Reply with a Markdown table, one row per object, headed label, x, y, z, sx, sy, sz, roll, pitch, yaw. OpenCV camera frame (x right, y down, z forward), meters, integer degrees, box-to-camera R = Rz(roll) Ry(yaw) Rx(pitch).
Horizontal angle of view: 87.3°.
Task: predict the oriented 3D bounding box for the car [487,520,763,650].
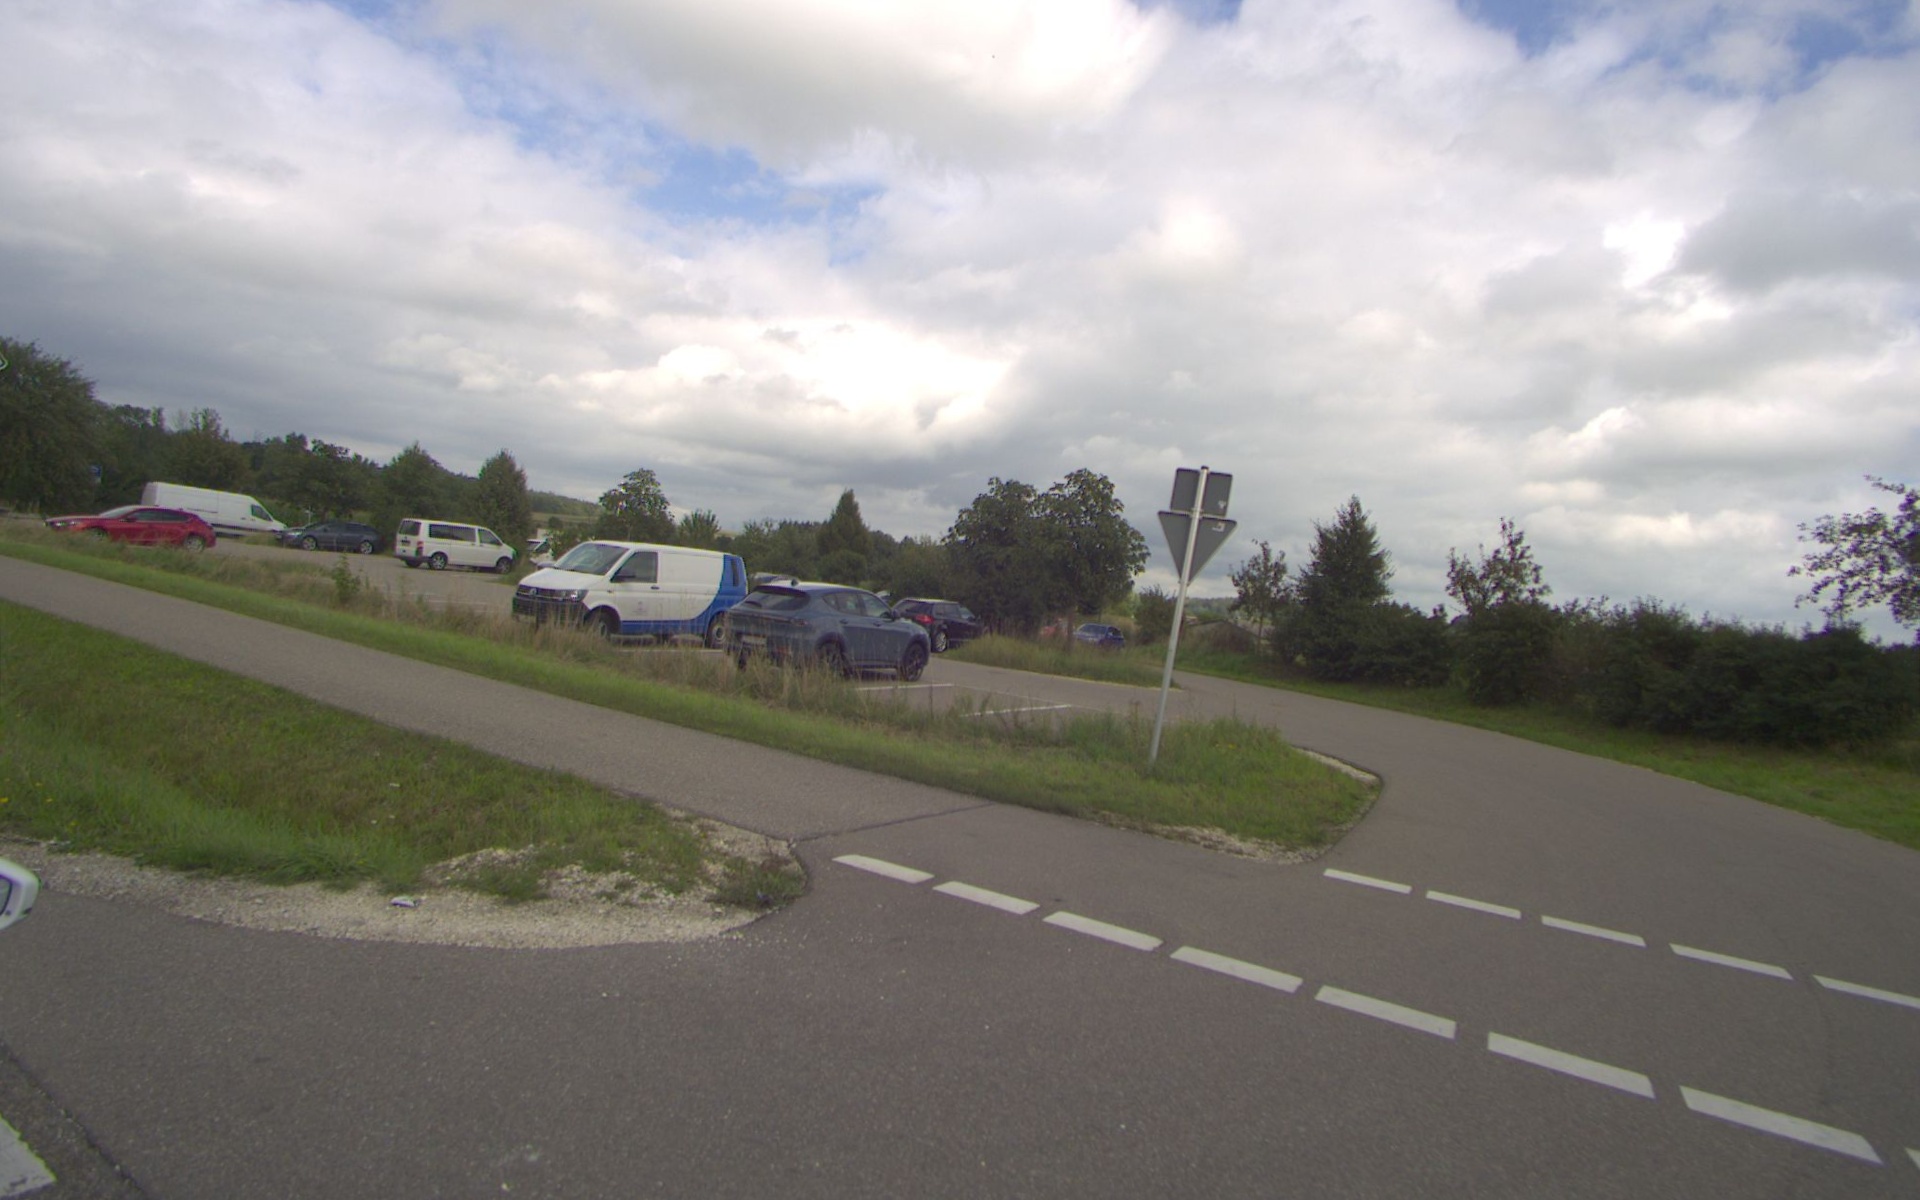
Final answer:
| label | x | y | z | sx | sy | sz | roll | pitch | yaw |
| --- | --- | --- | --- | --- | --- | --- | --- | --- | --- |
| car | -6.329 | -0.183 | 19.682 | 1.922 | 1.998 | 4.954 | 7 | 0 | 29 |

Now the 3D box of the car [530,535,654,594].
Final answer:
| label | x | y | z | sx | sy | sz | roll | pitch | yaw |
| --- | --- | --- | --- | --- | --- | --- | --- | --- | --- |
| car | -13.096 | -1.243 | 35.927 | 1.734 | 1.627 | 3.684 | 7 | 0 | 39 |

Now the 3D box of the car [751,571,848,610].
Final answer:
| label | x | y | z | sx | sy | sz | roll | pitch | yaw |
| --- | --- | --- | --- | --- | --- | --- | --- | --- | --- |
| car | -6.795 | -0.380 | 43.013 | 1.966 | 1.181 | 3.994 | 7 | 0 | 29 |

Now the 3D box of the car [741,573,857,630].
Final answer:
| label | x | y | z | sx | sy | sz | roll | pitch | yaw |
| --- | --- | --- | --- | --- | --- | --- | --- | --- | --- |
| car | -4.970 | 0.077 | 31.570 | 1.728 | 1.408 | 3.696 | 7 | 0 | 25 |

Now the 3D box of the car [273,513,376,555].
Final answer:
| label | x | y | z | sx | sy | sz | roll | pitch | yaw |
| --- | --- | --- | --- | --- | --- | --- | --- | --- | --- |
| car | -29.763 | -3.072 | 47.208 | 1.678 | 1.457 | 3.629 | 7 | 0 | 32 |

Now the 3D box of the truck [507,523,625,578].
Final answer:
| label | x | y | z | sx | sy | sz | roll | pitch | yaw |
| --- | --- | --- | --- | --- | --- | --- | --- | --- | --- |
| truck | -26.221 | -3.257 | 67.301 | 2.785 | 2.748 | 6.887 | 7 | 0 | 32 |

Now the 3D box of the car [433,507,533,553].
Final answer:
| label | x | y | z | sx | sy | sz | roll | pitch | yaw |
| --- | --- | --- | --- | --- | --- | --- | --- | --- | --- |
| car | -23.118 | -3.364 | 48.935 | 1.964 | 1.615 | 3.998 | 7 | 0 | 23 |

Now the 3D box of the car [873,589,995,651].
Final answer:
| label | x | y | z | sx | sy | sz | roll | pitch | yaw |
| --- | --- | --- | --- | --- | --- | --- | --- | --- | --- |
| car | -0.679 | 0.609 | 28.836 | 1.700 | 1.408 | 3.693 | 7 | 0 | 30 |

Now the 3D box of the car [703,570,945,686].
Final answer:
| label | x | y | z | sx | sy | sz | roll | pitch | yaw |
| --- | --- | --- | --- | --- | --- | --- | --- | --- | --- |
| car | -2.188 | 0.494 | 17.376 | 1.807 | 1.586 | 4.275 | 7 | 1 | 30 |

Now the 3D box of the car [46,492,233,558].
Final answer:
| label | x | y | z | sx | sy | sz | roll | pitch | yaw |
| --- | --- | --- | --- | --- | --- | --- | --- | --- | --- |
| car | -26.956 | -2.436 | 33.208 | 1.937 | 1.596 | 4.334 | 7 | 1 | 29 |

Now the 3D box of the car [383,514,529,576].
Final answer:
| label | x | y | z | sx | sy | sz | roll | pitch | yaw |
| --- | --- | --- | --- | --- | --- | --- | --- | --- | --- |
| car | -21.087 | -2.256 | 42.349 | 2.193 | 2.026 | 5.031 | 7 | 1 | 29 |

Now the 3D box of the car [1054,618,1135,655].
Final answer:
| label | x | y | z | sx | sy | sz | roll | pitch | yaw |
| --- | --- | --- | --- | --- | --- | --- | --- | --- | --- |
| car | 6.019 | 1.639 | 44.648 | 1.905 | 1.282 | 3.989 | 7 | 0 | 34 |

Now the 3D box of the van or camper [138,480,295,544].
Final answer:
| label | x | y | z | sx | sy | sz | roll | pitch | yaw |
| --- | --- | --- | --- | --- | --- | --- | --- | --- | --- |
| van or camper | -42.063 | -4.925 | 57.141 | 2.016 | 2.593 | 6.747 | 7 | 0 | 33 |
